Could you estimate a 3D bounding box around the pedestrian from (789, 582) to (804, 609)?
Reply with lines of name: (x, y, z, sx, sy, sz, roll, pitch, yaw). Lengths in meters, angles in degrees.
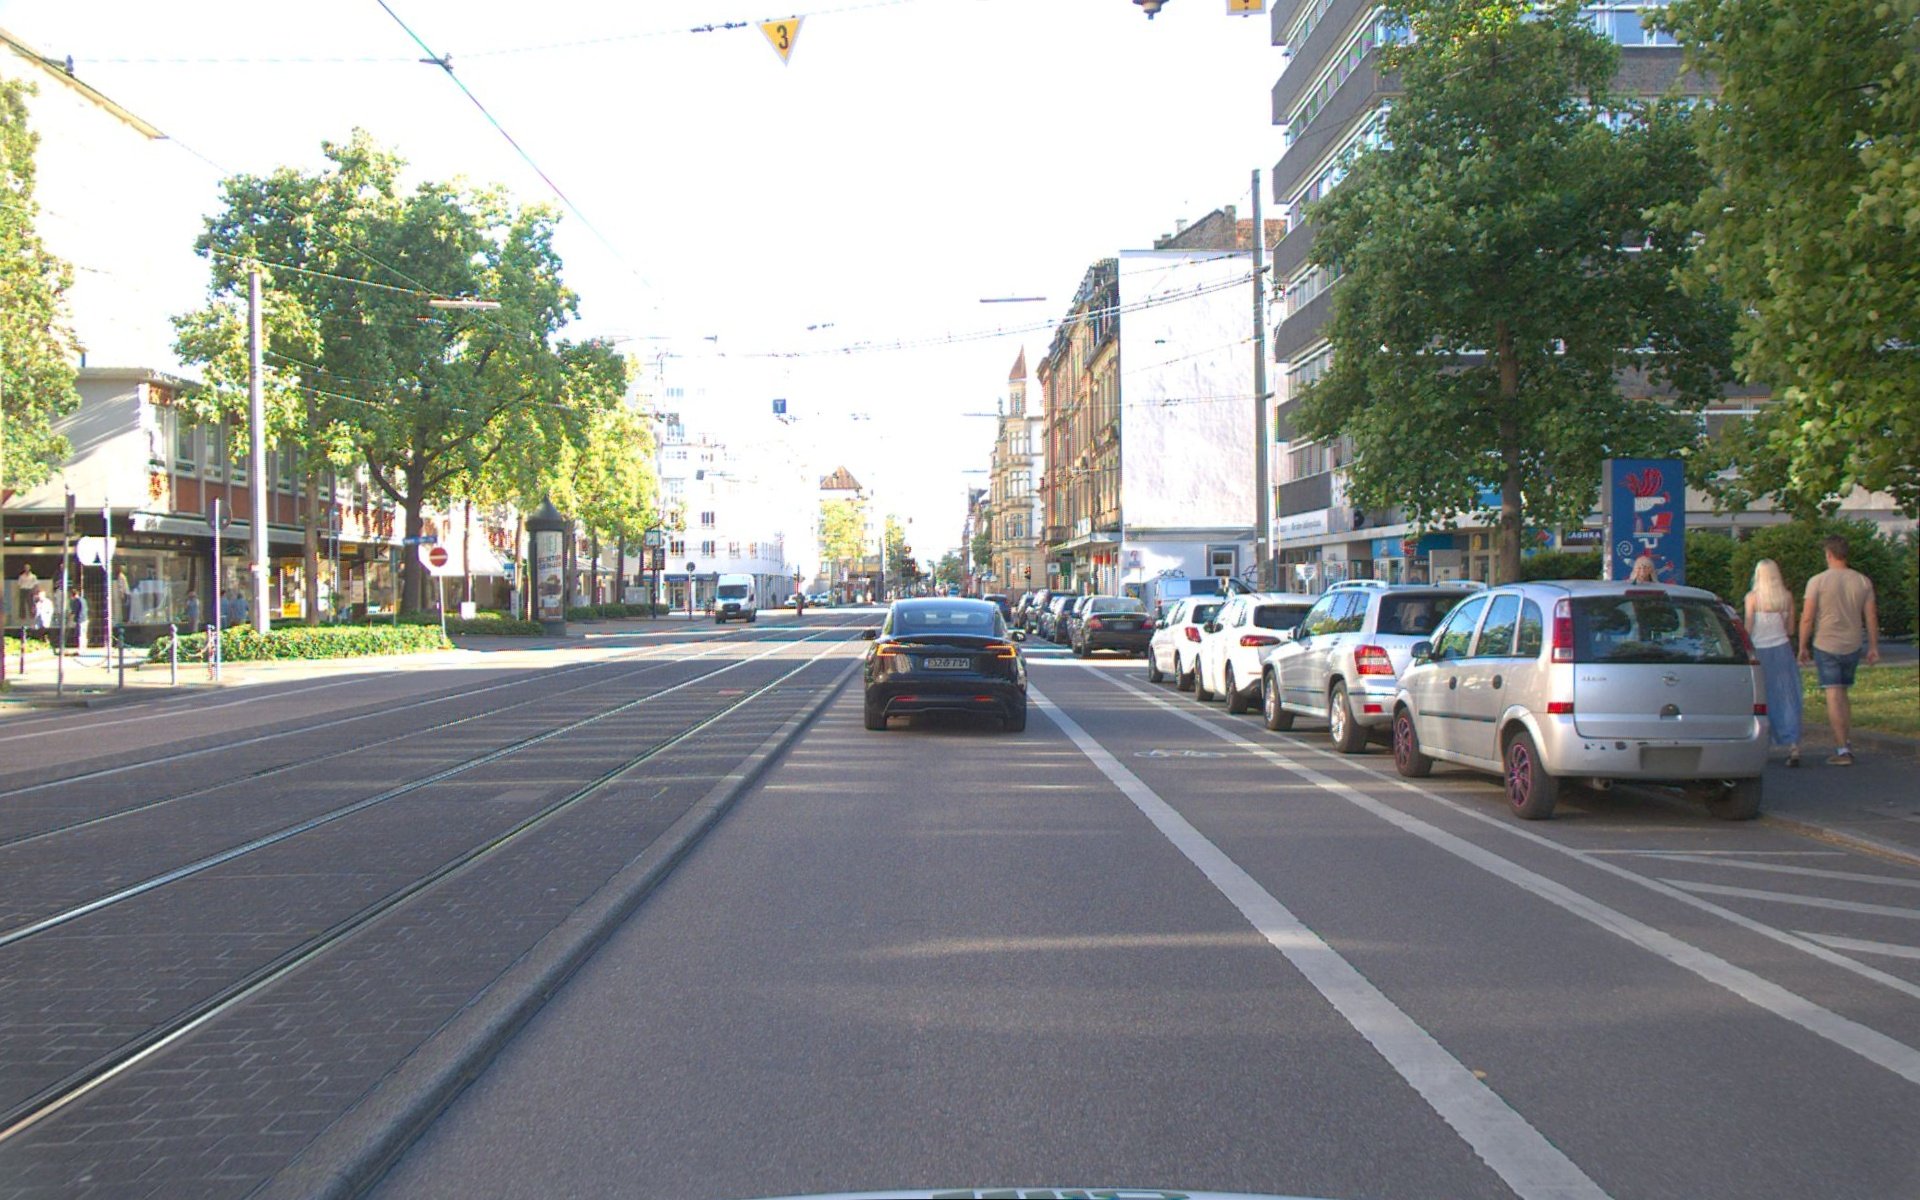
pedestrian: (-10.631, -0.307, 107.576, 0.826, 1.725, 0.797, 1, 1, 6)

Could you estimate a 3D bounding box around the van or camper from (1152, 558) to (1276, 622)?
van or camper: (9.957, -0.400, 65.155, 4.547, 2.173, 1.988, -4, 0, 3)

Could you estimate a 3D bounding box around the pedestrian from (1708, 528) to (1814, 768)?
pedestrian: (6.901, 0.397, 14.270, 0.455, 1.987, 0.748, -4, 0, 4)

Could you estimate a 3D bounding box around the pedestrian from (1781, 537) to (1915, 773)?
pedestrian: (7.623, 0.456, 14.232, 0.655, 1.930, 0.748, -4, 0, 4)

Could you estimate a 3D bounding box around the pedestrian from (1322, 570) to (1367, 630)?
pedestrian: (11.624, 0.011, 49.944, 1.130, 1.758, 1.043, -1, 1, 24)

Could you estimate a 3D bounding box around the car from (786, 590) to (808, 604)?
car: (-17.069, -0.278, 173.664, 1.953, 1.392, 3.999, -1, 1, -1)

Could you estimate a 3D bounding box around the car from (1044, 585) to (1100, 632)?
car: (3.591, 0.256, 53.485, 1.432, 1.457, 3.812, 0, 0, -2)

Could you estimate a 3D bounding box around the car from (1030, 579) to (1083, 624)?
car: (3.681, 0.068, 63.637, 1.792, 1.656, 4.095, 0, 0, 0)

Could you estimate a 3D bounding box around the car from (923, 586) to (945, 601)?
car: (-2.614, -0.664, 166.141, 1.955, 1.552, 3.996, 0, 0, -5)

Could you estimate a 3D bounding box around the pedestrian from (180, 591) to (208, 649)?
pedestrian: (-25.274, 0.653, 54.594, 0.614, 1.879, 0.672, 1, 1, -4)

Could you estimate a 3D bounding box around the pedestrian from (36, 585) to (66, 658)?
pedestrian: (-26.846, 0.629, 48.828, 0.657, 2.102, 0.599, 2, 1, 44)

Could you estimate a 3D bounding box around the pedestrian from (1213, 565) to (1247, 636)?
pedestrian: (7.145, 0.001, 43.868, 0.707, 1.843, 0.889, -1, 0, -1)

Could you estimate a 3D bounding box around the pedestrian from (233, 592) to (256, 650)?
pedestrian: (-23.086, 0.675, 53.367, 0.535, 1.833, 0.587, 1, 1, -10)

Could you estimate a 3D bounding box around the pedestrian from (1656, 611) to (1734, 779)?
pedestrian: (6.412, 0.821, 14.438, 0.446, 1.422, 0.423, -3, 0, 3)

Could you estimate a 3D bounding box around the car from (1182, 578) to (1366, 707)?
car: (4.234, 0.509, 22.913, 1.511, 1.597, 4.441, 0, 1, -3)

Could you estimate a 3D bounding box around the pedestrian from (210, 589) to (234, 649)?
pedestrian: (-23.763, 0.611, 53.273, 0.580, 1.905, 0.537, 1, 1, -10)

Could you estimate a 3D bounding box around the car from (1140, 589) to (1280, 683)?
car: (4.233, 0.560, 28.516, 1.570, 1.468, 3.882, 1, 0, -4)

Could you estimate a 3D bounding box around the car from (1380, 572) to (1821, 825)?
car: (4.662, 0.606, 12.724, 1.679, 1.618, 4.064, 1, 1, -2)

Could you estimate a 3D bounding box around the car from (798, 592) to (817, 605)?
car: (-18.321, -0.225, 199.008, 1.953, 1.521, 3.999, -1, 1, -1)

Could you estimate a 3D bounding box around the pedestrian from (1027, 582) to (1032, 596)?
pedestrian: (6.393, -1.025, 152.530, 0.432, 1.242, 0.389, -1, 1, -2)

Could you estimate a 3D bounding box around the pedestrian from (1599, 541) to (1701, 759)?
pedestrian: (6.005, 0.422, 14.416, 0.598, 1.839, 0.603, -2, 0, 3)

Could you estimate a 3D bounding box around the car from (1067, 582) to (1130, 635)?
car: (3.982, 0.242, 47.954, 1.546, 1.472, 3.309, 0, 0, 0)

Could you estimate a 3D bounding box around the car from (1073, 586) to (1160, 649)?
car: (3.892, 0.399, 41.821, 1.676, 1.482, 4.549, 0, 0, -1)

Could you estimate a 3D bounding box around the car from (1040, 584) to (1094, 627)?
car: (3.750, 0.181, 58.608, 1.547, 1.469, 3.913, 0, 0, -2)

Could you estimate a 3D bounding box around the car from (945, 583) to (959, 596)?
car: (-1.072, -1.462, 221.497, 1.808, 1.620, 4.000, -2, 1, 0)

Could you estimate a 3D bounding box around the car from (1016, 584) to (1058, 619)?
car: (3.412, 0.036, 74.163, 1.680, 1.498, 3.719, -1, 1, 0)

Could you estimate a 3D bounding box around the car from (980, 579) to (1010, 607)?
car: (1.944, -0.406, 92.192, 1.561, 1.458, 3.686, -1, 1, 0)

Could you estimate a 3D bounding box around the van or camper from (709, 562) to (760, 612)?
van or camper: (-12.812, -0.765, 94.413, 2.096, 2.700, 6.879, -1, 1, -1)

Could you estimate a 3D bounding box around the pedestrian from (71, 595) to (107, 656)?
pedestrian: (-25.120, 0.724, 47.702, 0.511, 1.723, 0.710, -2, 1, 22)

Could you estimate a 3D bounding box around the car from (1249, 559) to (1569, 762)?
car: (4.570, 0.513, 17.650, 1.887, 1.866, 4.709, 0, 1, -4)

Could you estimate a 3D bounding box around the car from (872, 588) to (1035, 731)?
car: (-0.127, 0.605, 18.988, 1.685, 1.430, 3.709, 0, 1, -2)
